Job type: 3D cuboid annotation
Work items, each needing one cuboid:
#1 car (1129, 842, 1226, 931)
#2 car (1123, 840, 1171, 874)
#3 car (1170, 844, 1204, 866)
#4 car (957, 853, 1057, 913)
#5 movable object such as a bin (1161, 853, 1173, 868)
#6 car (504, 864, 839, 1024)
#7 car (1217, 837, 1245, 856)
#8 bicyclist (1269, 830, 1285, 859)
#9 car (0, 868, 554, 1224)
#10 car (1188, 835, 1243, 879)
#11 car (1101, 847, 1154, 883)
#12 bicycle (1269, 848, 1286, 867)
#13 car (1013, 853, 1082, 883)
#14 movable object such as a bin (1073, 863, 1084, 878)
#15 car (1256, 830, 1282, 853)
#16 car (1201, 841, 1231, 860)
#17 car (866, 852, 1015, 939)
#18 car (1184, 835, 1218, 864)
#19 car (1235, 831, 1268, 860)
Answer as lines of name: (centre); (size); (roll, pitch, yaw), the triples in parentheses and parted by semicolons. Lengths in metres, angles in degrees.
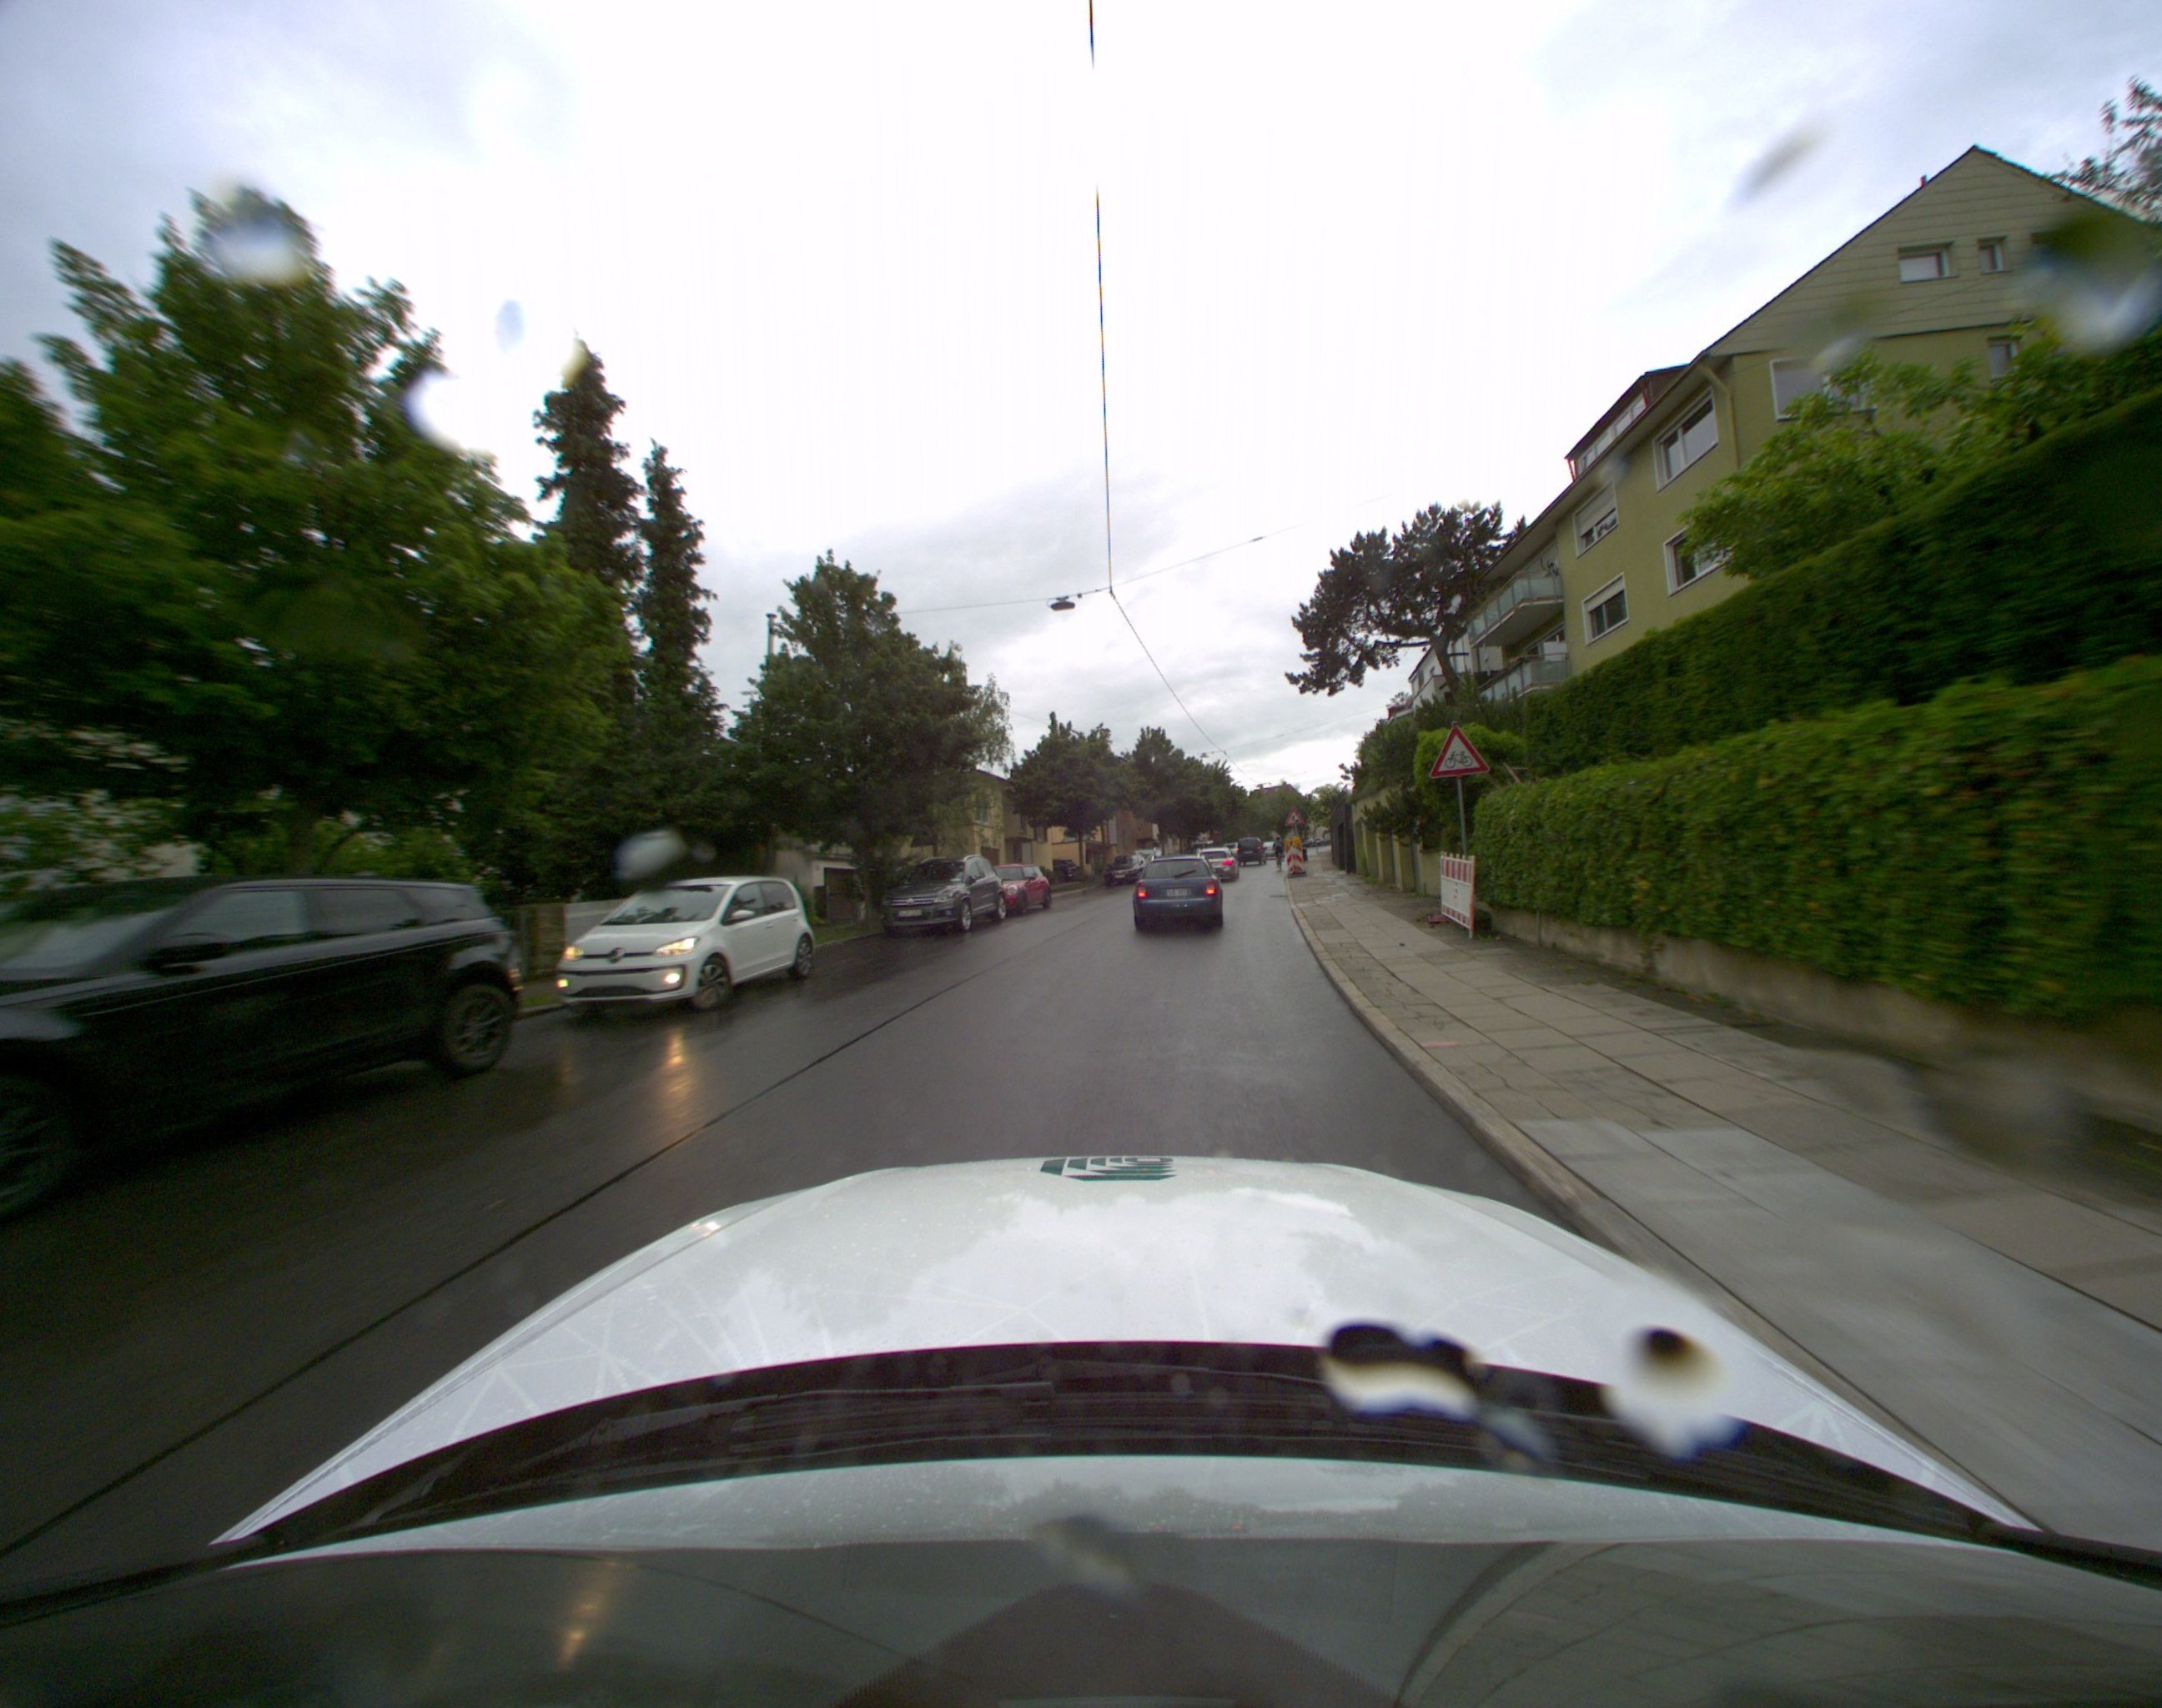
car: (2.101, 0.578, 17.006); (1.723, 1.466, 4.012); (-2, 2, 10)
car: (3.860, 0.126, 47.074); (1.754, 1.634, 4.128); (-8, -1, 17)
car: (8.299, 0.058, 63.504); (1.754, 1.436, 4.367); (-6, -1, 17)
car: (-2.054, 0.777, 23.795); (1.670, 1.471, 3.879); (-4, -1, 13)
movable object such as a bin: (6.437, 0.507, 61.179); (0.678, 1.011, 0.710); (-8, -1, 12)
car: (-4.701, 0.934, 10.121); (1.724, 1.466, 4.008); (-2, 0, 7)
car: (14.884, -0.777, 80.595); (1.753, 1.626, 4.715); (-6, -1, 22)
bicyclist: (10.570, -0.511, 43.901); (0.719, 1.472, 0.890); (-4, 0, 18)
car: (-5.601, 0.913, 4.999); (1.726, 1.545, 4.214); (-2, -1, 4)
car: (6.004, 0.088, 35.957); (1.961, 1.634, 4.253); (-2, 2, 15)
car: (2.451, 0.518, 41.696); (1.755, 1.535, 4.623); (-6, 0, 14)
bicycle: (10.587, 0.176, 43.828); (0.724, 0.964, 1.678); (-3, 0, 18)
car: (-2.173, 0.932, 53.464); (4.022, 1.646, 1.872); (-4, -1, 16)
movable object such as a bin: (-0.154, 1.114, 55.343); (0.582, 1.023, 0.588); (-3, 0, 14)
car: (15.874, -1.063, 68.549); (1.719, 1.768, 4.256); (-2, 2, 18)
car: (12.310, -0.310, 74.118); (1.753, 1.387, 4.658); (-6, 1, 20)
car: (-3.078, 0.854, 18.856); (1.789, 1.669, 4.440); (-4, -1, 11)
car: (10.109, -0.440, 68.179); (1.777, 2.049, 4.804); (-7, 0, 18)
car: (11.601, -0.602, 55.260); (1.720, 1.768, 4.255); (-2, 2, 17)
